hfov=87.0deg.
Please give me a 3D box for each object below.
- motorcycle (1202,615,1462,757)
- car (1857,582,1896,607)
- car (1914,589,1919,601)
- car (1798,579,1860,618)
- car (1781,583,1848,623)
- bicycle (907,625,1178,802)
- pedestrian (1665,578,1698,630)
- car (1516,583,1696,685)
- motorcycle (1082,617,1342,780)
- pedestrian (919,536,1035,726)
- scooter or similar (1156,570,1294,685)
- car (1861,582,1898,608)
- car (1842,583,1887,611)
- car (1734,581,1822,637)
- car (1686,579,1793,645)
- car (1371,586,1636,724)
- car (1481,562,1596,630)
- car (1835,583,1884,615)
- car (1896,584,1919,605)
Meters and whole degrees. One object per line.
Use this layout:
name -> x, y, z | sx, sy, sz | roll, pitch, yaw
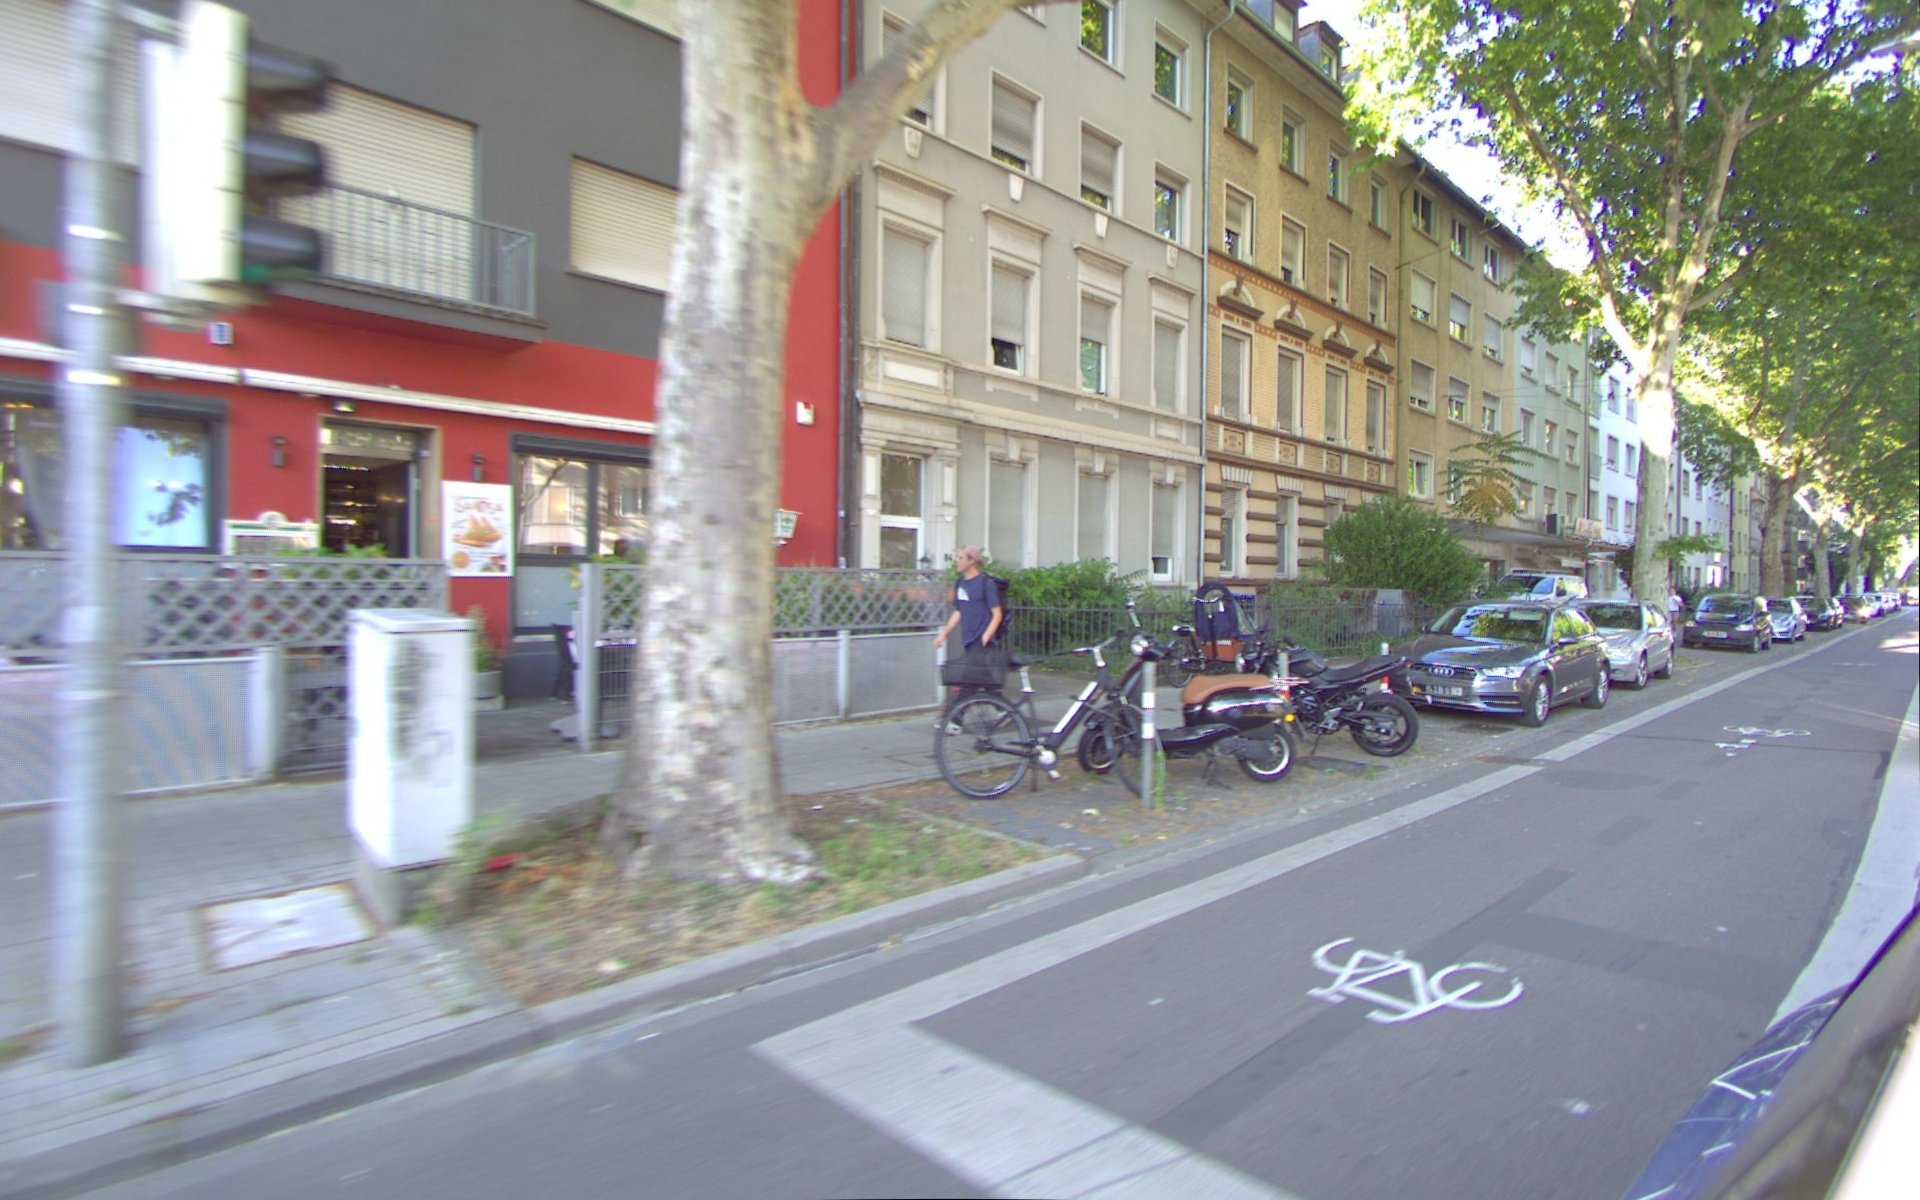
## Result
motorcycle -> 3.465, 0.766, 9.583 | 2.185, 1.125, 0.660 | 3, 1, 19
car -> 64.553, -0.402, 71.261 | 1.799, 1.628, 4.039 | 4, 4, 44
car -> 156.428, -0.793, 164.107 | 3.929, 1.884, 1.997 | -1, 0, -40
car -> 39.780, -0.085, 46.297 | 1.799, 1.628, 4.300 | 4, 4, 44
car -> 35.982, 0.069, 42.580 | 1.799, 1.521, 4.300 | 4, 4, 44
bicycle -> 0.581, 0.780, 7.168 | 1.762, 1.125, 0.622 | 2, 1, -17
pedestrian -> 22.648, 0.110, 31.781 | 0.690, 1.600, 0.727 | -1, 1, -44
car -> 11.353, 0.475, 17.646 | 1.799, 1.473, 4.441 | 4, 4, 43
motorcycle -> 1.963, 0.754, 8.119 | 1.856, 1.125, 0.785 | 3, 1, 3
pedestrian -> 0.164, 0.260, 9.794 | 0.803, 1.731, 0.727 | -1, 4, -44
scooter or similar -> 3.746, 0.337, 14.135 | 2.503, 1.488, 0.665 | -1, 1, -44
car -> 68.886, -0.388, 75.798 | 1.799, 1.774, 4.039 | 4, 3, 44
car -> 55.836, -0.206, 62.464 | 1.799, 1.628, 4.039 | 4, 4, 44
car -> 26.952, 0.238, 33.306 | 1.799, 1.628, 4.300 | 4, 4, 44
car -> 21.662, 0.273, 28.071 | 1.799, 1.628, 4.300 | 4, 4, 44
car -> 7.207, 0.573, 13.208 | 4.298, 1.419, 1.800 | -1, 4, -44
car -> 18.023, -0.159, 31.430 | 1.930, 1.897, 4.603 | 4, 4, 44
car -> 50.634, -0.098, 56.940 | 1.799, 1.628, 4.039 | 4, 4, 44
car -> 81.654, -0.481, 86.804 | 1.799, 1.627, 3.643 | 4, 4, 44
